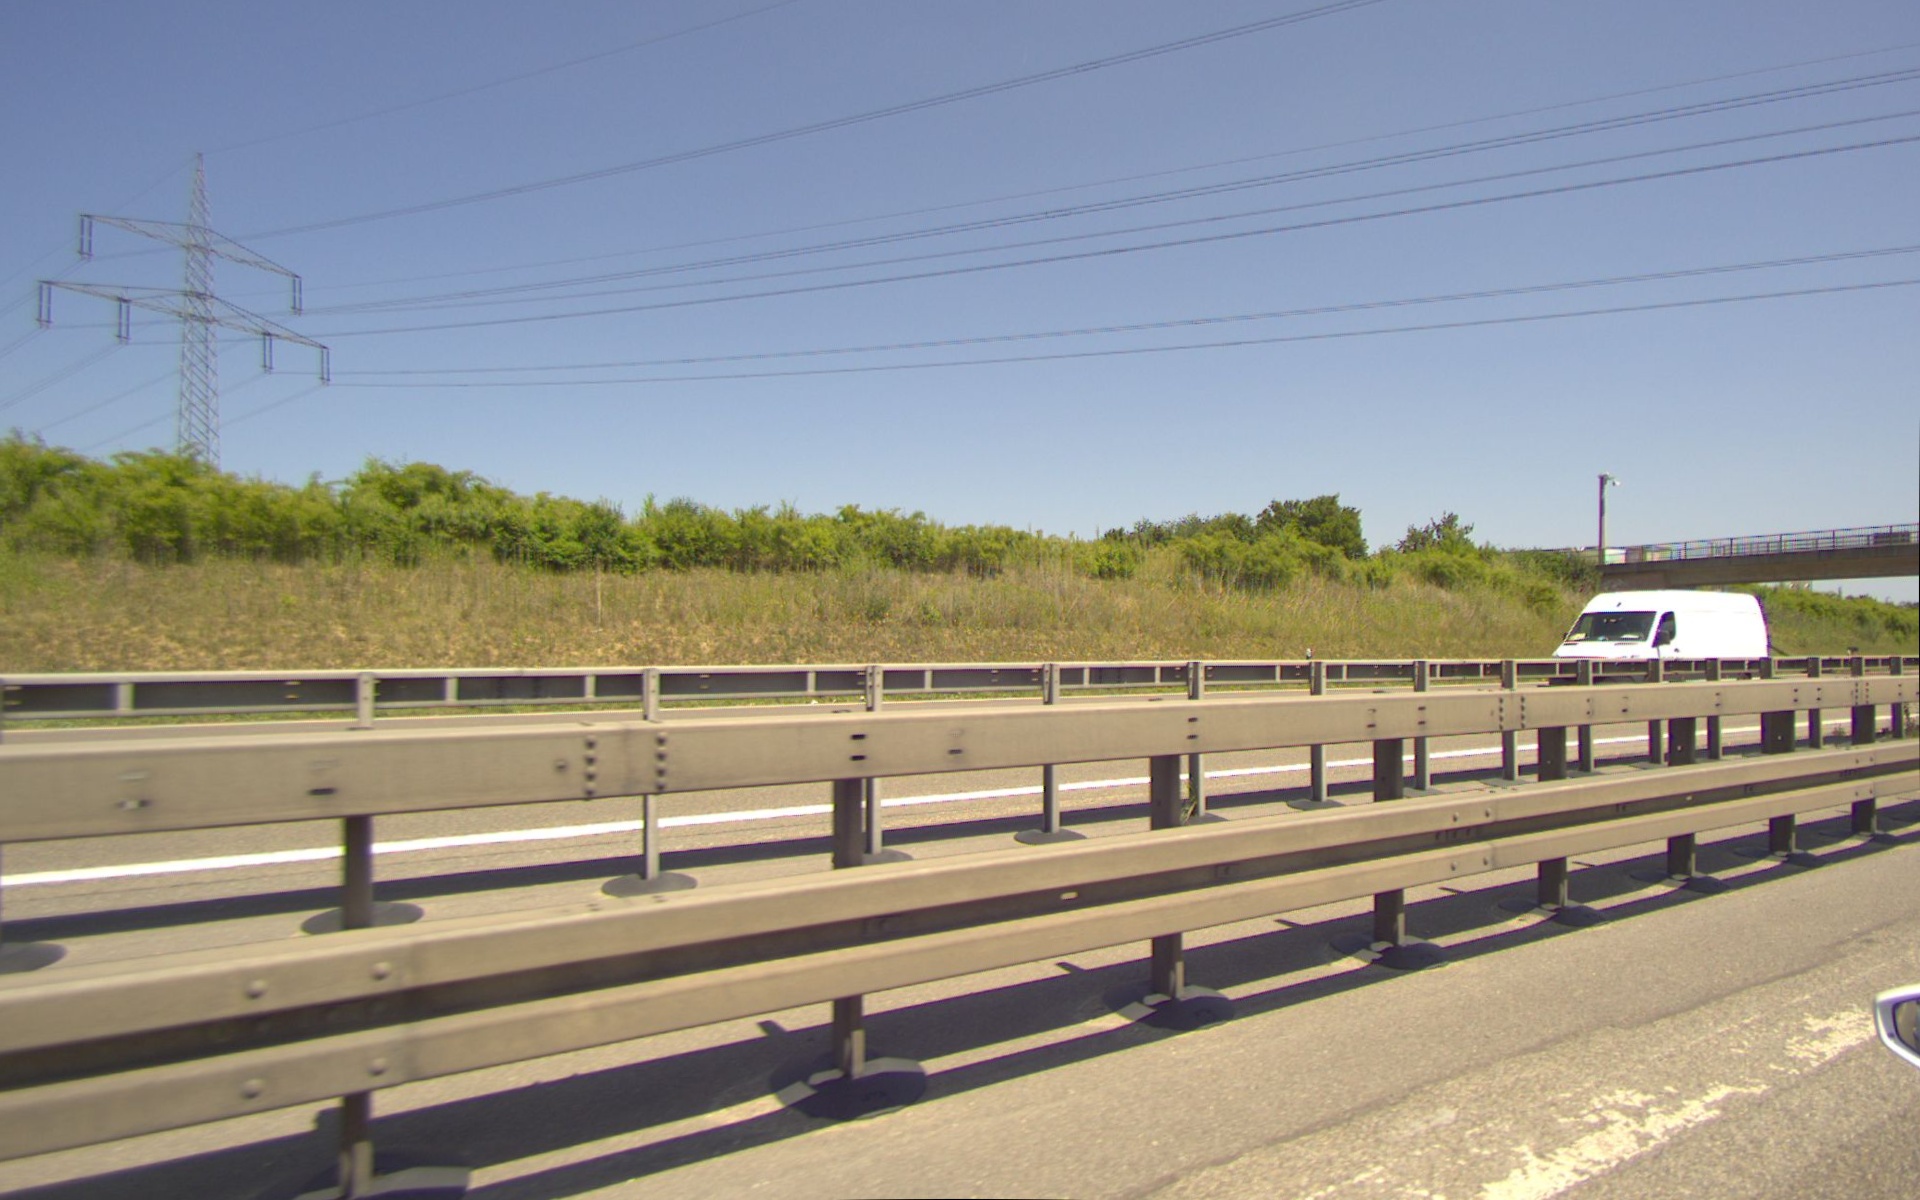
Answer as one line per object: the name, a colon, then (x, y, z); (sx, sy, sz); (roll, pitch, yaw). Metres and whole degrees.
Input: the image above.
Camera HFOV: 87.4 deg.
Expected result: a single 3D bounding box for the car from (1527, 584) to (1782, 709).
car: (16.727, 1.059, 24.015); (7.511, 2.640, 2.022); (1, 0, -30)
